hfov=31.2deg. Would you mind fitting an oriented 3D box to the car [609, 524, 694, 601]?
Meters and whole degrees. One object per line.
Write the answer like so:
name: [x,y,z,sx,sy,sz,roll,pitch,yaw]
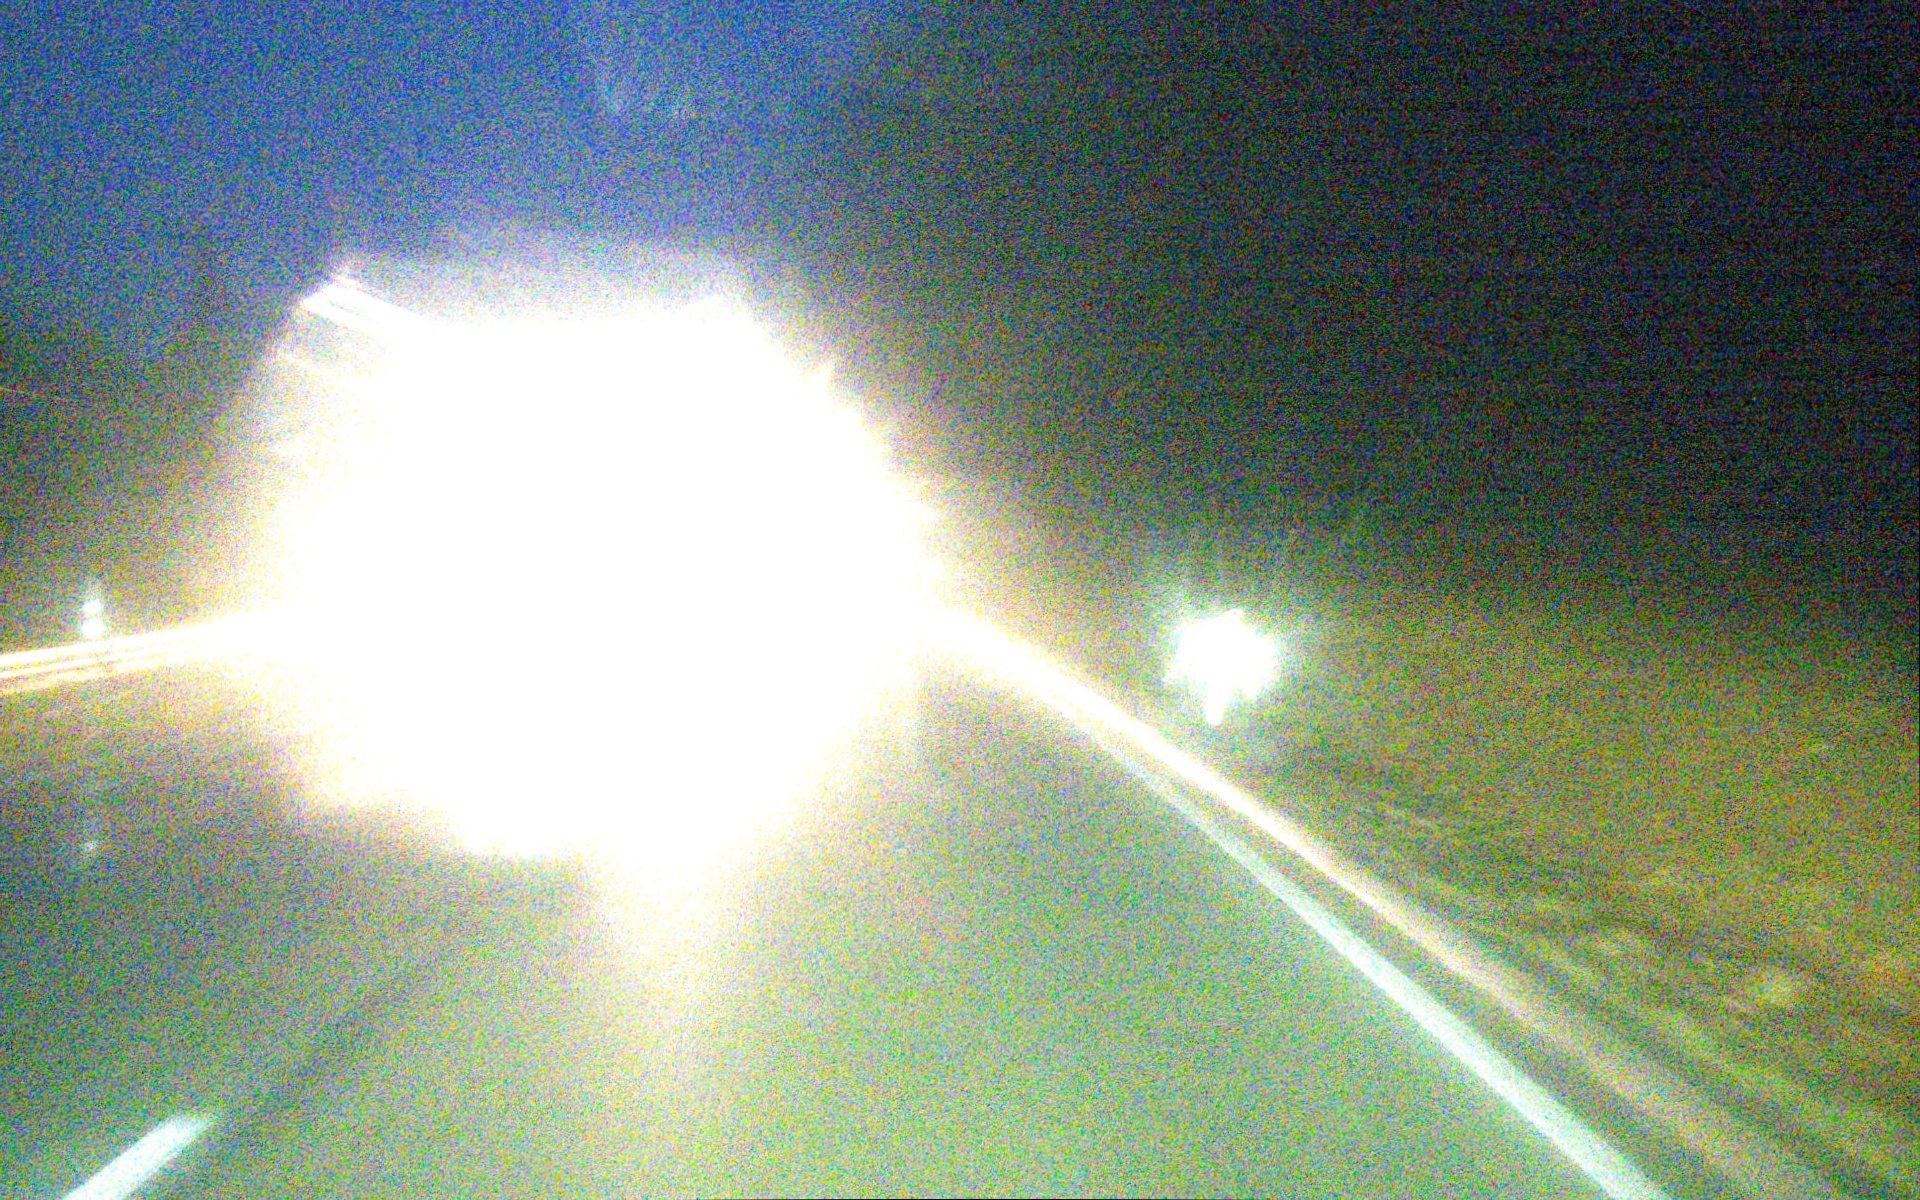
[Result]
car: [-7.020,-0.852,78.413,1.771,1.669,4.055,1,1,-3]
